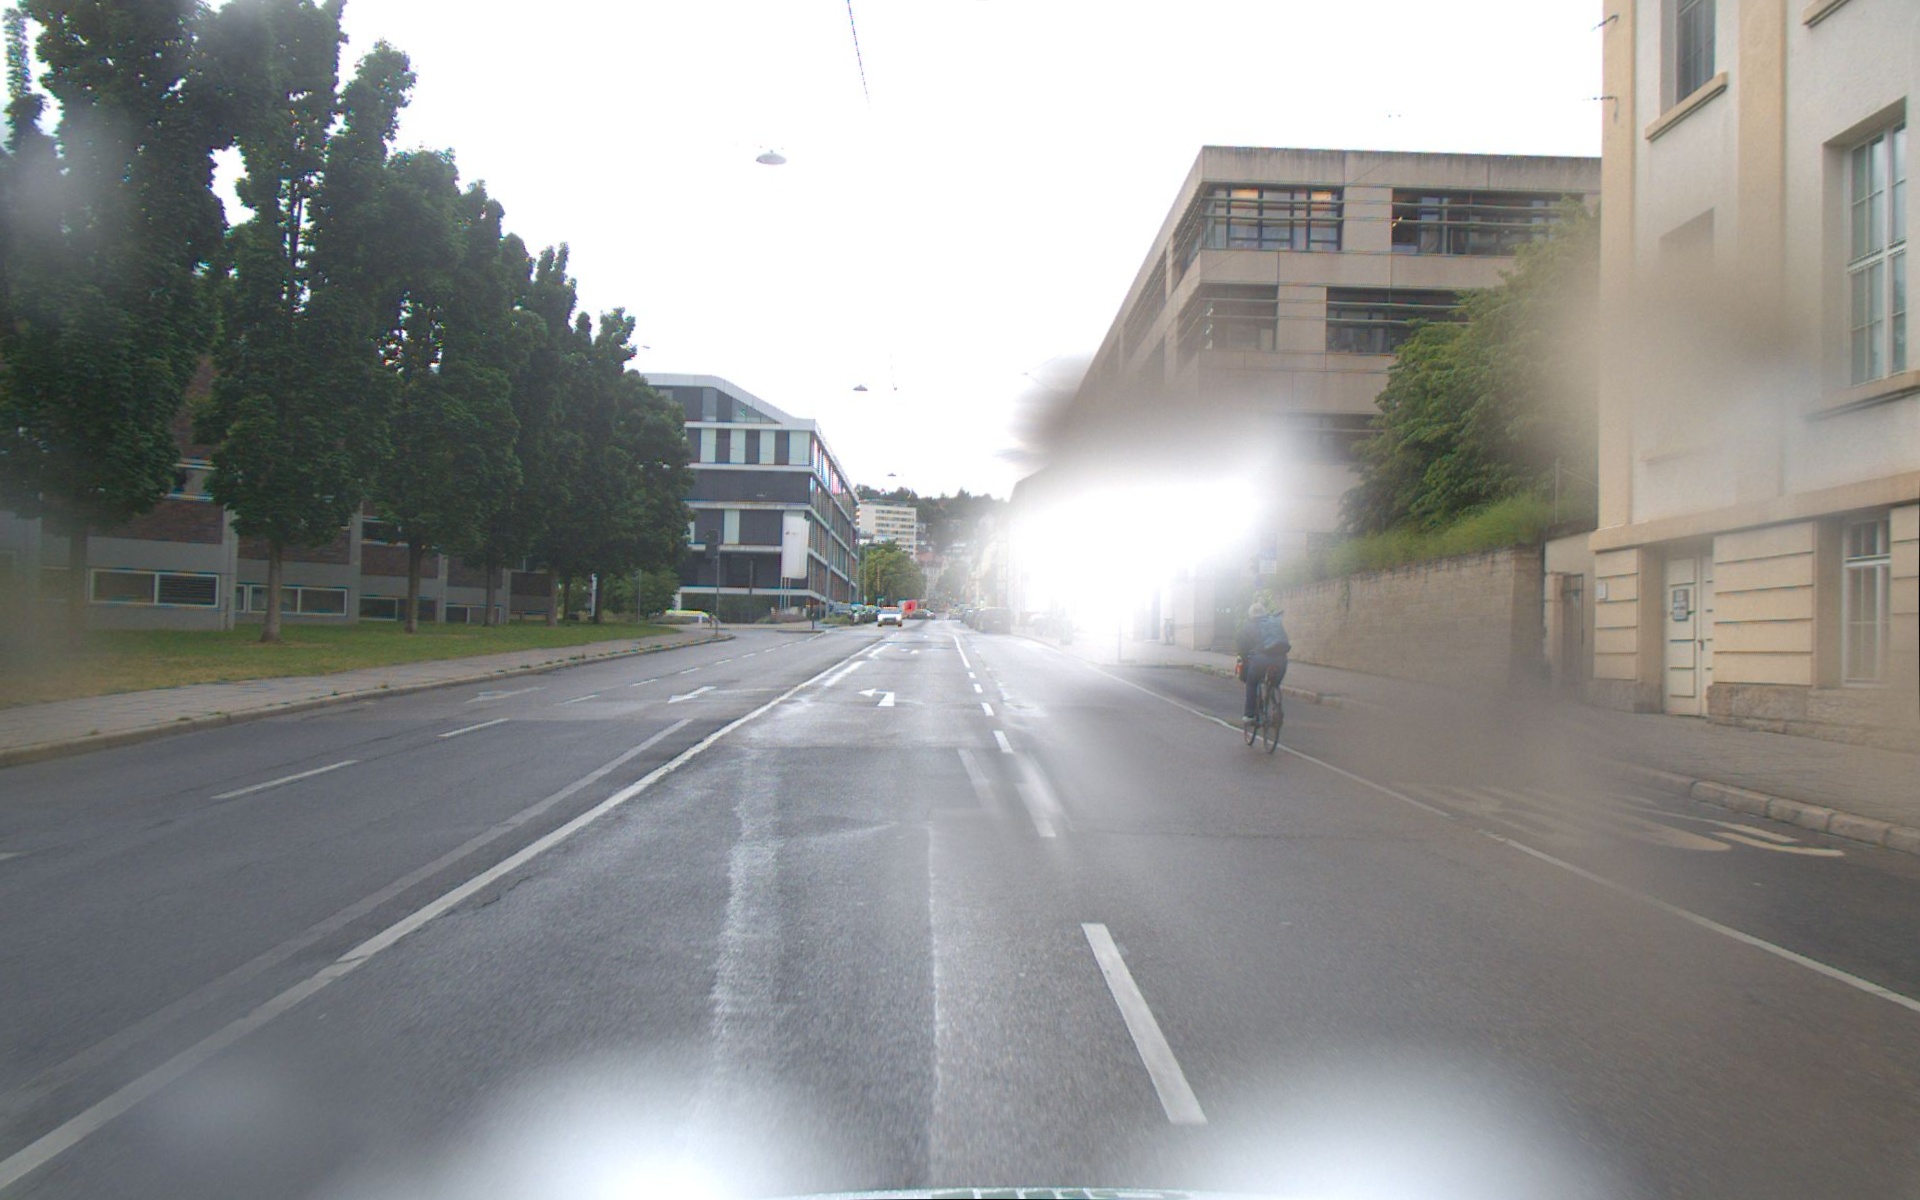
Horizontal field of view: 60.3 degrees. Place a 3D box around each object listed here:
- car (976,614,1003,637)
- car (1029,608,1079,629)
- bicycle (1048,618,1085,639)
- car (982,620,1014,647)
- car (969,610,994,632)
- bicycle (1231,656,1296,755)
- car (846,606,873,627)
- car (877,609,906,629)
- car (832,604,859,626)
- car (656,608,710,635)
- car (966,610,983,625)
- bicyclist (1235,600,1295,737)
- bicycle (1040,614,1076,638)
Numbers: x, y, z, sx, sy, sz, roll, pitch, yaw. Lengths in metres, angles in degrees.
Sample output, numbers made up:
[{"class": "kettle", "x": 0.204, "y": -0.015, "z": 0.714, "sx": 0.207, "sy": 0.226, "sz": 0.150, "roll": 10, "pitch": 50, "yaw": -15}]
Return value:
[{"class": "car", "x": 2.140, "y": 1.875, "z": 121.459, "sx": 1.708, "sy": 1.560, "sz": 4.317, "roll": 2, "pitch": -1, "yaw": -2}, {"class": "car", "x": 8.345, "y": 1.692, "z": 147.219, "sx": 4.348, "sy": 1.743, "sz": 1.904, "roll": -1, "pitch": -1, "yaw": -2}, {"class": "bicycle", "x": 5.275, "y": 1.412, "z": 81.964, "sx": 1.724, "sy": 0.970, "sz": 0.659, "roll": 1, "pitch": -1, "yaw": -4}, {"class": "car", "x": 2.415, "y": 2.121, "z": 105.697, "sx": 1.735, "sy": 1.632, "sz": 4.392, "roll": 2, "pitch": -1, "yaw": -2}, {"class": "car", "x": 1.748, "y": 1.779, "z": 138.348, "sx": 1.896, "sy": 1.781, "sz": 4.795, "roll": 2, "pitch": -1, "yaw": -1}, {"class": "bicycle", "x": 3.371, "y": 1.155, "z": 18.469, "sx": 0.438, "sy": 0.980, "sz": 1.690, "roll": 2, "pitch": 0, "yaw": 2}, {"class": "car", "x": -9.129, "y": 1.527, "z": 150.423, "sx": 1.922, "sy": 1.781, "sz": 4.942, "roll": 2, "pitch": -1, "yaw": 2}, {"class": "car", "x": -5.391, "y": 1.507, "z": 130.615, "sx": 1.842, "sy": 1.517, "sz": 5.221, "roll": -1, "pitch": 0, "yaw": 2}, {"class": "car", "x": -9.225, "y": 1.252, "z": 133.579, "sx": 1.812, "sy": 1.646, "sz": 4.490, "roll": 2, "pitch": -1, "yaw": 0}, {"class": "car", "x": -24.392, "y": 1.888, "z": 145.634, "sx": 4.502, "sy": 2.212, "sz": 1.928, "roll": 2, "pitch": -1, "yaw": -7}, {"class": "car", "x": 1.486, "y": 1.839, "z": 172.688, "sx": 1.671, "sy": 1.480, "sz": 3.983, "roll": 2, "pitch": -1, "yaw": -1}, {"class": "bicyclist", "x": 3.375, "y": 0.750, "z": 18.337, "sx": 0.474, "sy": 1.458, "sz": 0.930, "roll": 2, "pitch": -1, "yaw": 1}, {"class": "bicycle", "x": 4.921, "y": 1.317, "z": 82.941, "sx": 1.696, "sy": 1.138, "sz": 0.659, "roll": 1, "pitch": -1, "yaw": -6}]
